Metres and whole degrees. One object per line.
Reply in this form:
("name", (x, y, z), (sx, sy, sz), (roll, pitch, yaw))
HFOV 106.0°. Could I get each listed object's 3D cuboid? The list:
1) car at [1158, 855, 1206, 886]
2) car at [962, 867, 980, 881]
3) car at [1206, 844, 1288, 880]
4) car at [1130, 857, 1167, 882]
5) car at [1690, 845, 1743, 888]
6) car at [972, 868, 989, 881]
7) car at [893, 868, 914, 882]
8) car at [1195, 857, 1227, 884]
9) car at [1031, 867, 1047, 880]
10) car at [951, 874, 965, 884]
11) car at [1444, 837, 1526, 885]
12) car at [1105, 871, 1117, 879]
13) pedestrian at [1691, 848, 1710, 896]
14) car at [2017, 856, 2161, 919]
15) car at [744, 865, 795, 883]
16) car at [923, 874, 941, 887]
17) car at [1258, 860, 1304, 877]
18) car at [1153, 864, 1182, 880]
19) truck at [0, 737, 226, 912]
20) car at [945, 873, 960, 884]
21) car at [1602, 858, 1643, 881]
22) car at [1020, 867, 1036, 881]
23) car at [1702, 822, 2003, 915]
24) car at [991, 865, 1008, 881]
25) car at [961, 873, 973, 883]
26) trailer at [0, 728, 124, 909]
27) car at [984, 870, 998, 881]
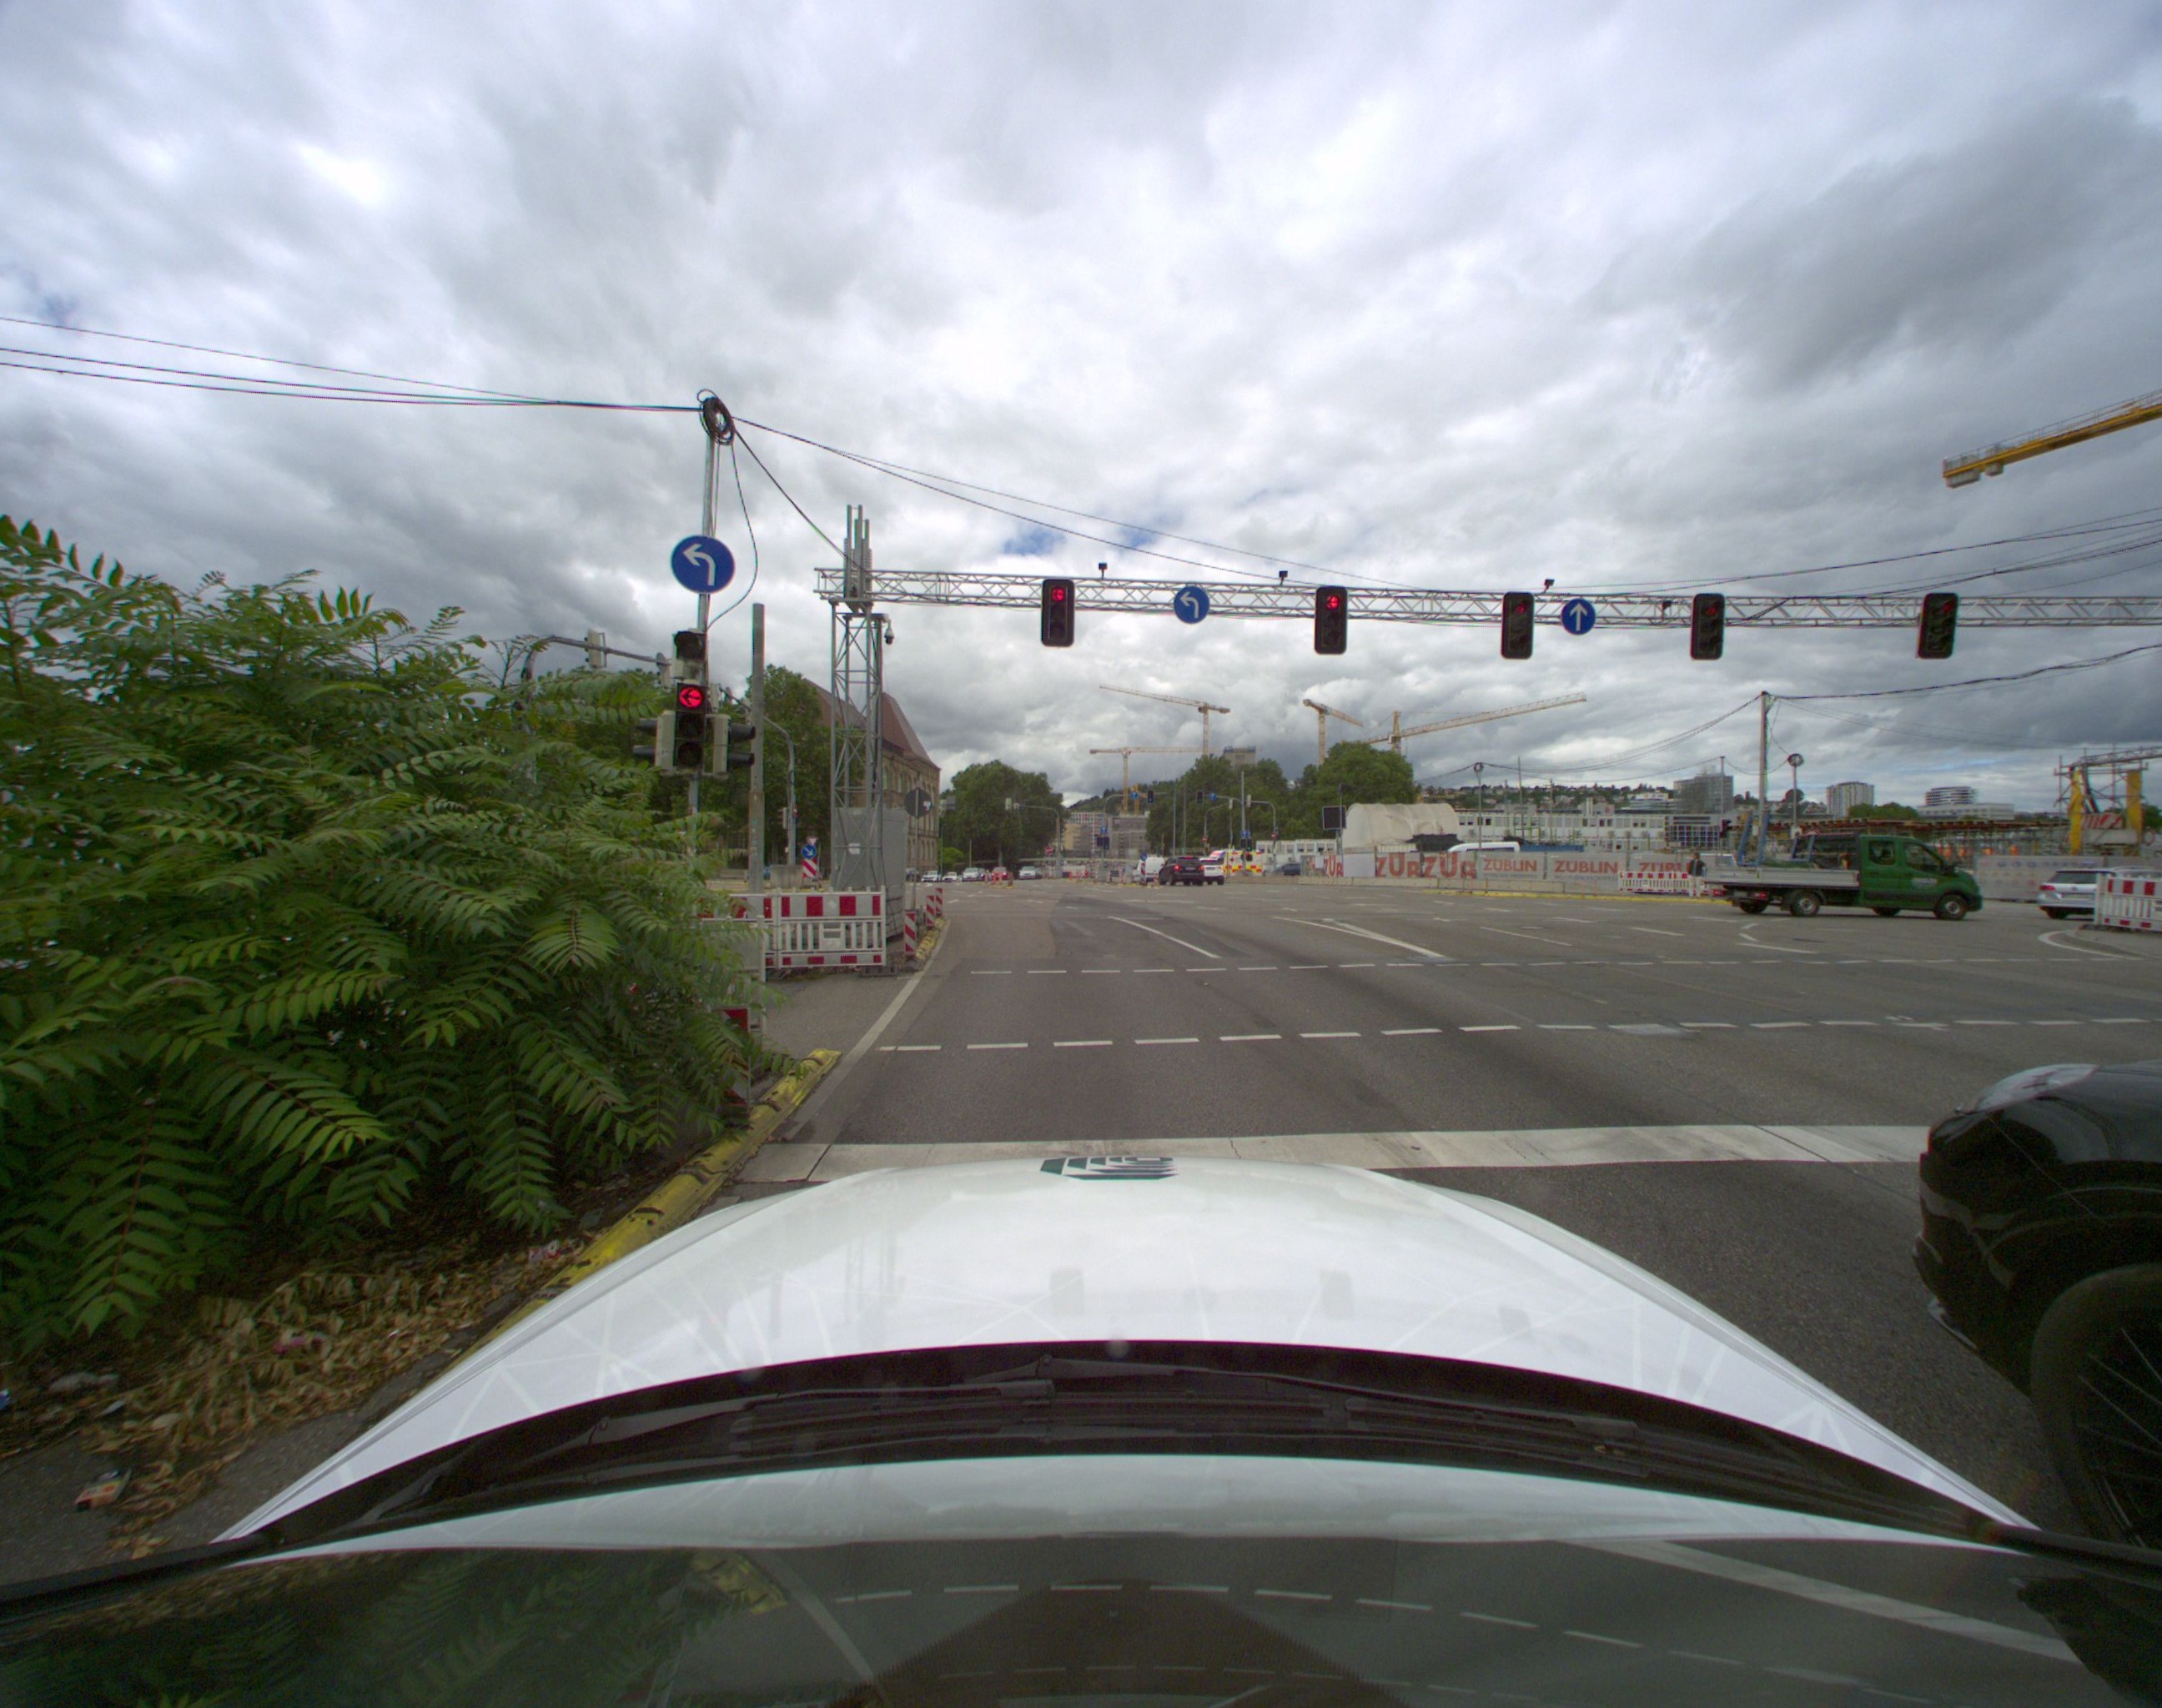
("car", (5.956, 0.940, 48.481), (1.830, 1.746, 4.244), (0, -1, -8))
("car", (-11.621, 2.115, 86.064), (1.673, 1.398, 3.677), (0, -1, -4))
("car", (14.642, 0.674, 71.856), (6.753, 3.052, 2.358), (0, -1, -17))
("car", (4.564, 1.018, 55.566), (1.814, 1.625, 3.992), (0, -1, -5))
("car", (30.129, 0.564, 38.686), (1.755, 1.954, 3.146), (-1, -1, 34))
("car", (-11.367, 2.264, 92.222), (1.673, 1.398, 3.677), (0, -1, -4))
("car", (-18.286, 2.165, 84.057), (1.673, 1.398, 3.677), (0, -1, -4))
("car", (8.495, 1.060, 53.589), (1.670, 1.702, 3.375), (0, -1, 2))
("car", (-4.770, 2.193, 92.272), (1.673, 1.398, 3.677), (0, -1, -4))
("car", (-17.494, 3.551, 116.273), (1.673, 1.398, 3.677), (0, -1, -4))
("car", (23.227, 0.425, 46.960), (3.957, 2.662, 1.688), (-1, -1, 15))
("car", (4.653, 3.263, 125.260), (1.307, 1.075, 3.675), (0, 0, -6))
("pedestrian", (25.720, 0.736, 33.799), (0.581, 1.976, 0.437), (0, 0, 43))
("car", (28.516, 0.863, 21.880), (4.691, 1.625, 1.682), (0, -1, 2))
("car", (-26.254, 1.665, 68.721), (3.703, 1.398, 1.661), (0, -1, -42))
("car", (-17.470, 3.076, 95.322), (1.673, 1.398, 3.677), (0, -1, -4))
("car", (19.484, 1.436, 79.372), (3.996, 1.625, 1.812), (0, -1, -17))
("car", (8.018, 1.680, 75.946), (1.680, 1.398, 3.069), (0, -1, -16))
("truck", (-25.414, -0.674, 20.313), (4.864, 4.064, 2.942), (0, -1, -3))
("car", (-17.068, 3.236, 108.289), (1.672, 1.398, 3.679), (1, 1, -3))
("car", (37.994, 1.078, 57.233), (1.661, 1.528, 4.021), (-1, -1, 22))
("car", (-5.589, 2.066, 85.357), (1.673, 1.398, 3.677), (0, -1, -4))
("car", (20.289, 0.385, 21.657), (5.736, 2.305, 2.304), (0, -1, 2))
("car", (-8.481, 1.994, 85.080), (1.673, 1.580, 3.677), (0, -1, -4))
("car", (-17.873, 3.780, 128.063), (1.673, 1.398, 3.677), (0, -1, -4))
("trailer", (-32.426, -0.778, 19.992), (13.708, 4.281, 2.945), (0, -1, -3))
("car", (-11.350, 2.697, 102.606), (1.673, 1.398, 3.677), (0, -1, -4))
